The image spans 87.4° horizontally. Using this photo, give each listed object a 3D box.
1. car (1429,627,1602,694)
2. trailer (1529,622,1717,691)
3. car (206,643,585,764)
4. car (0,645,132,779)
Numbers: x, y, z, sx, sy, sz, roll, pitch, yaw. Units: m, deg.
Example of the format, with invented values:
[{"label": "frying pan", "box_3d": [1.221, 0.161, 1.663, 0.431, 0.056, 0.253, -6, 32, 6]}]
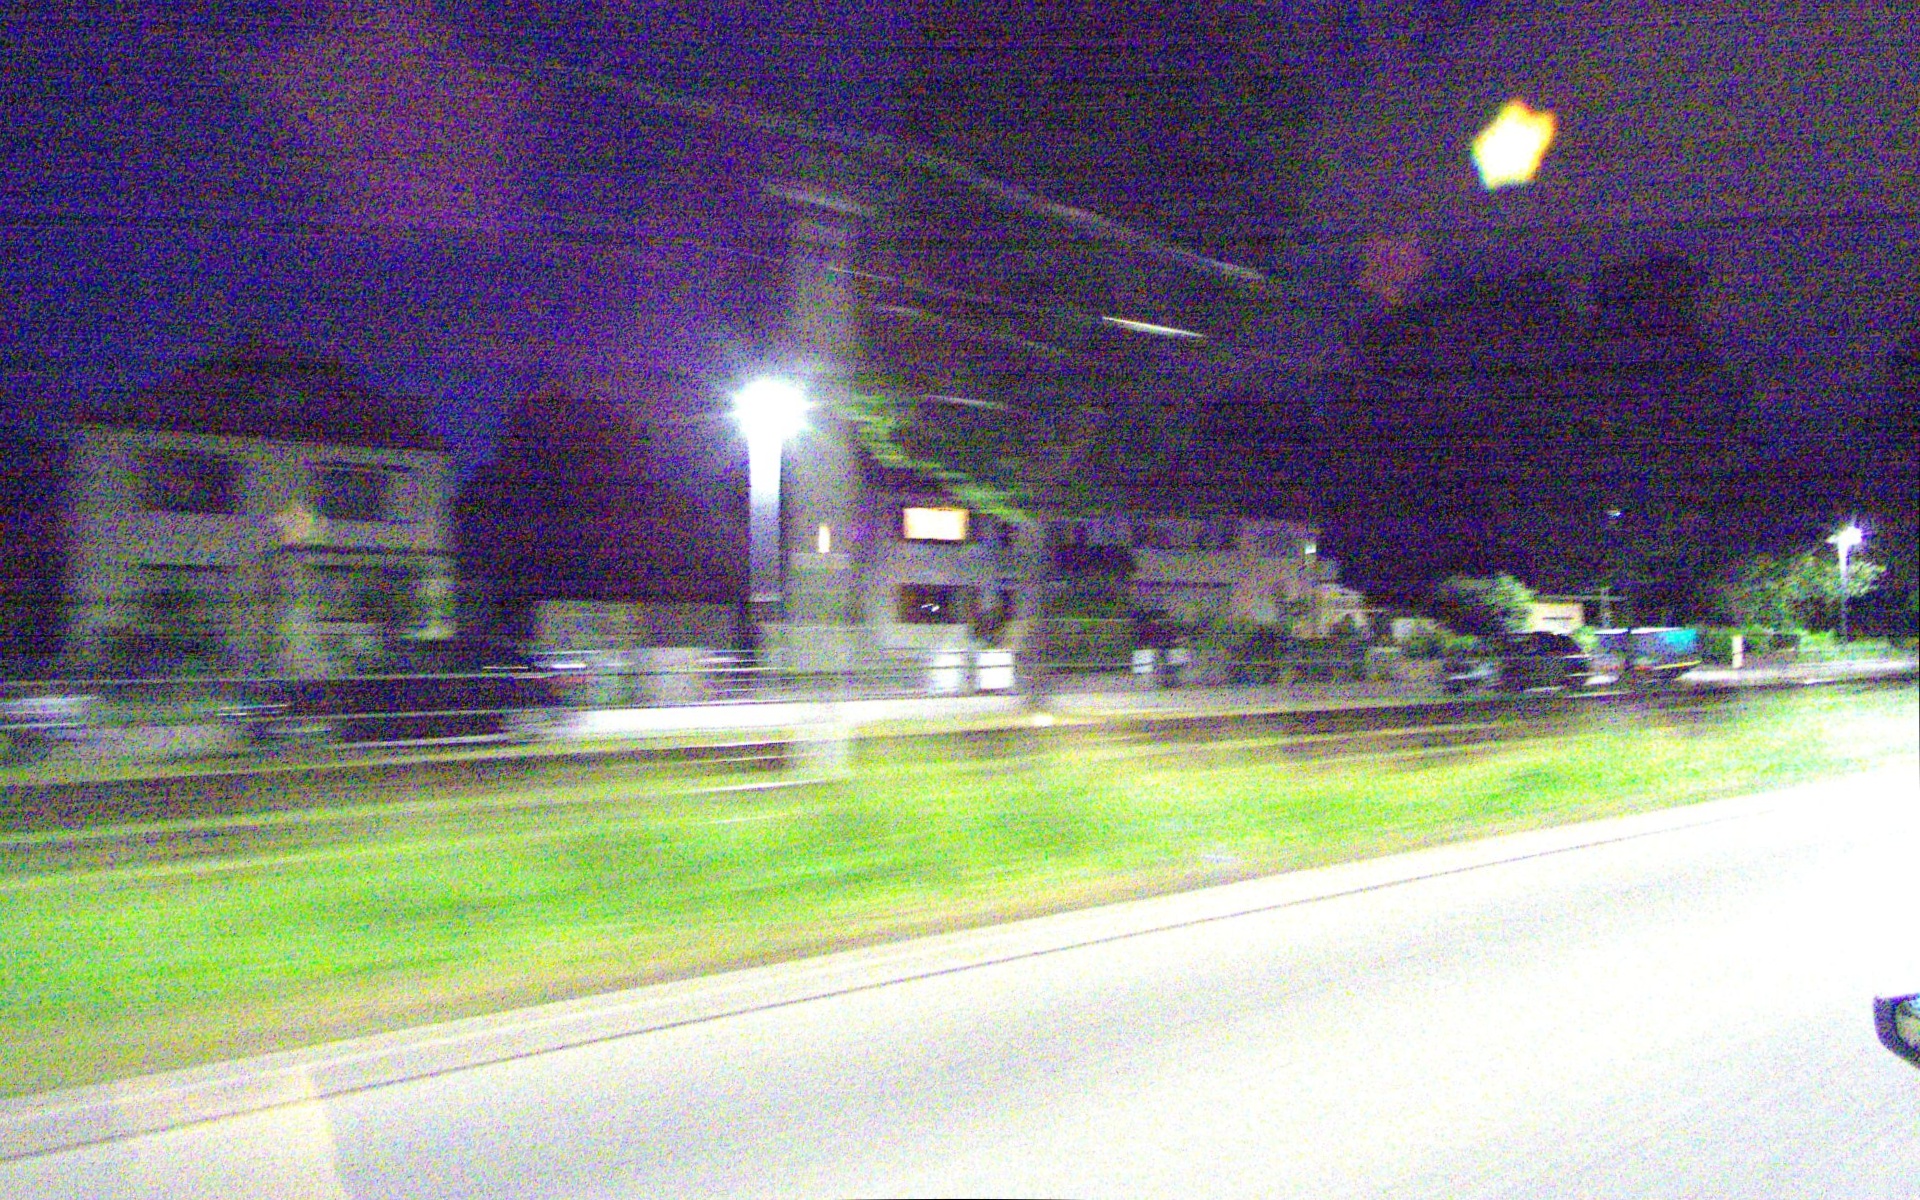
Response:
[{"label": "car", "box_3d": [14.375, 1.559, 25.943, 4.478, 1.597, 1.711, 1, -5, -28]}, {"label": "trailer", "box_3d": [18.784, 1.581, 28.391, 5.605, 1.803, 2.016, 1, -4, -29]}, {"label": "car", "box_3d": [-7.273, 1.308, 13.296, 4.097, 1.382, 1.721, 2, -5, -30]}, {"label": "car", "box_3d": [-12.021, 1.200, 10.441, 4.921, 1.382, 1.894, 1, -5, -28]}]
